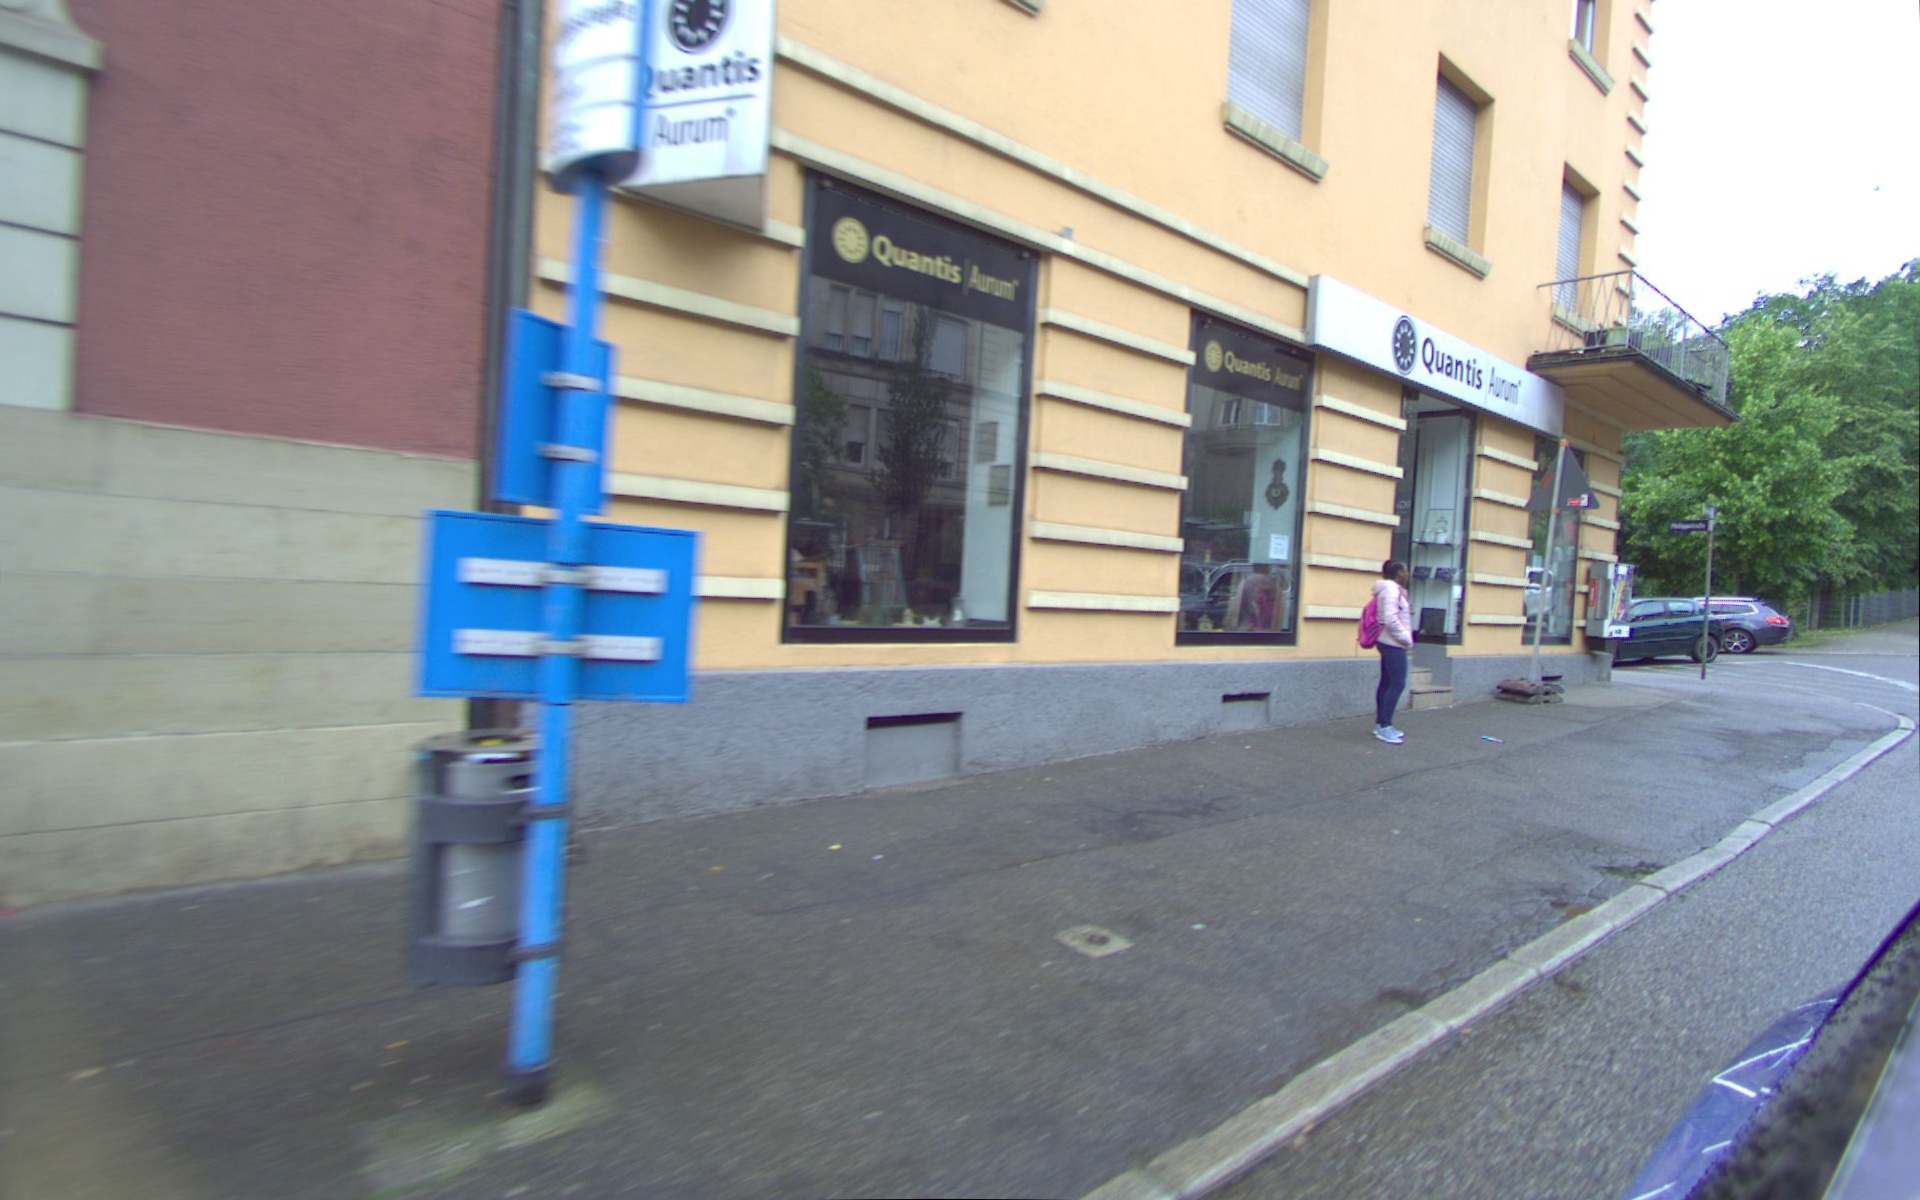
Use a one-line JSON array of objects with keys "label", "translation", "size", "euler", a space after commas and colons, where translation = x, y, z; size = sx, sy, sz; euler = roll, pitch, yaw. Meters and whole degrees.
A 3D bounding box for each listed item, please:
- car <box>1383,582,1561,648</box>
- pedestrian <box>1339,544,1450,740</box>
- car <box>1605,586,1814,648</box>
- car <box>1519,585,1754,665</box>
[{"label": "car", "translation": [12.328, 0.347, 24.434], "size": [3.560, 1.511, 1.712], "euler": [0, 0, -14]}, {"label": "pedestrian", "translation": [3.810, 0.326, 8.868], "size": [0.762, 1.609, 0.704], "euler": [3, 3, 31]}, {"label": "car", "translation": [20.057, 0.450, 27.204], "size": [1.970, 1.517, 4.269], "euler": [1, -1, -45]}, {"label": "car", "translation": [14.821, 0.513, 22.291], "size": [4.027, 1.487, 1.858], "euler": [-3, 1, -8]}]
